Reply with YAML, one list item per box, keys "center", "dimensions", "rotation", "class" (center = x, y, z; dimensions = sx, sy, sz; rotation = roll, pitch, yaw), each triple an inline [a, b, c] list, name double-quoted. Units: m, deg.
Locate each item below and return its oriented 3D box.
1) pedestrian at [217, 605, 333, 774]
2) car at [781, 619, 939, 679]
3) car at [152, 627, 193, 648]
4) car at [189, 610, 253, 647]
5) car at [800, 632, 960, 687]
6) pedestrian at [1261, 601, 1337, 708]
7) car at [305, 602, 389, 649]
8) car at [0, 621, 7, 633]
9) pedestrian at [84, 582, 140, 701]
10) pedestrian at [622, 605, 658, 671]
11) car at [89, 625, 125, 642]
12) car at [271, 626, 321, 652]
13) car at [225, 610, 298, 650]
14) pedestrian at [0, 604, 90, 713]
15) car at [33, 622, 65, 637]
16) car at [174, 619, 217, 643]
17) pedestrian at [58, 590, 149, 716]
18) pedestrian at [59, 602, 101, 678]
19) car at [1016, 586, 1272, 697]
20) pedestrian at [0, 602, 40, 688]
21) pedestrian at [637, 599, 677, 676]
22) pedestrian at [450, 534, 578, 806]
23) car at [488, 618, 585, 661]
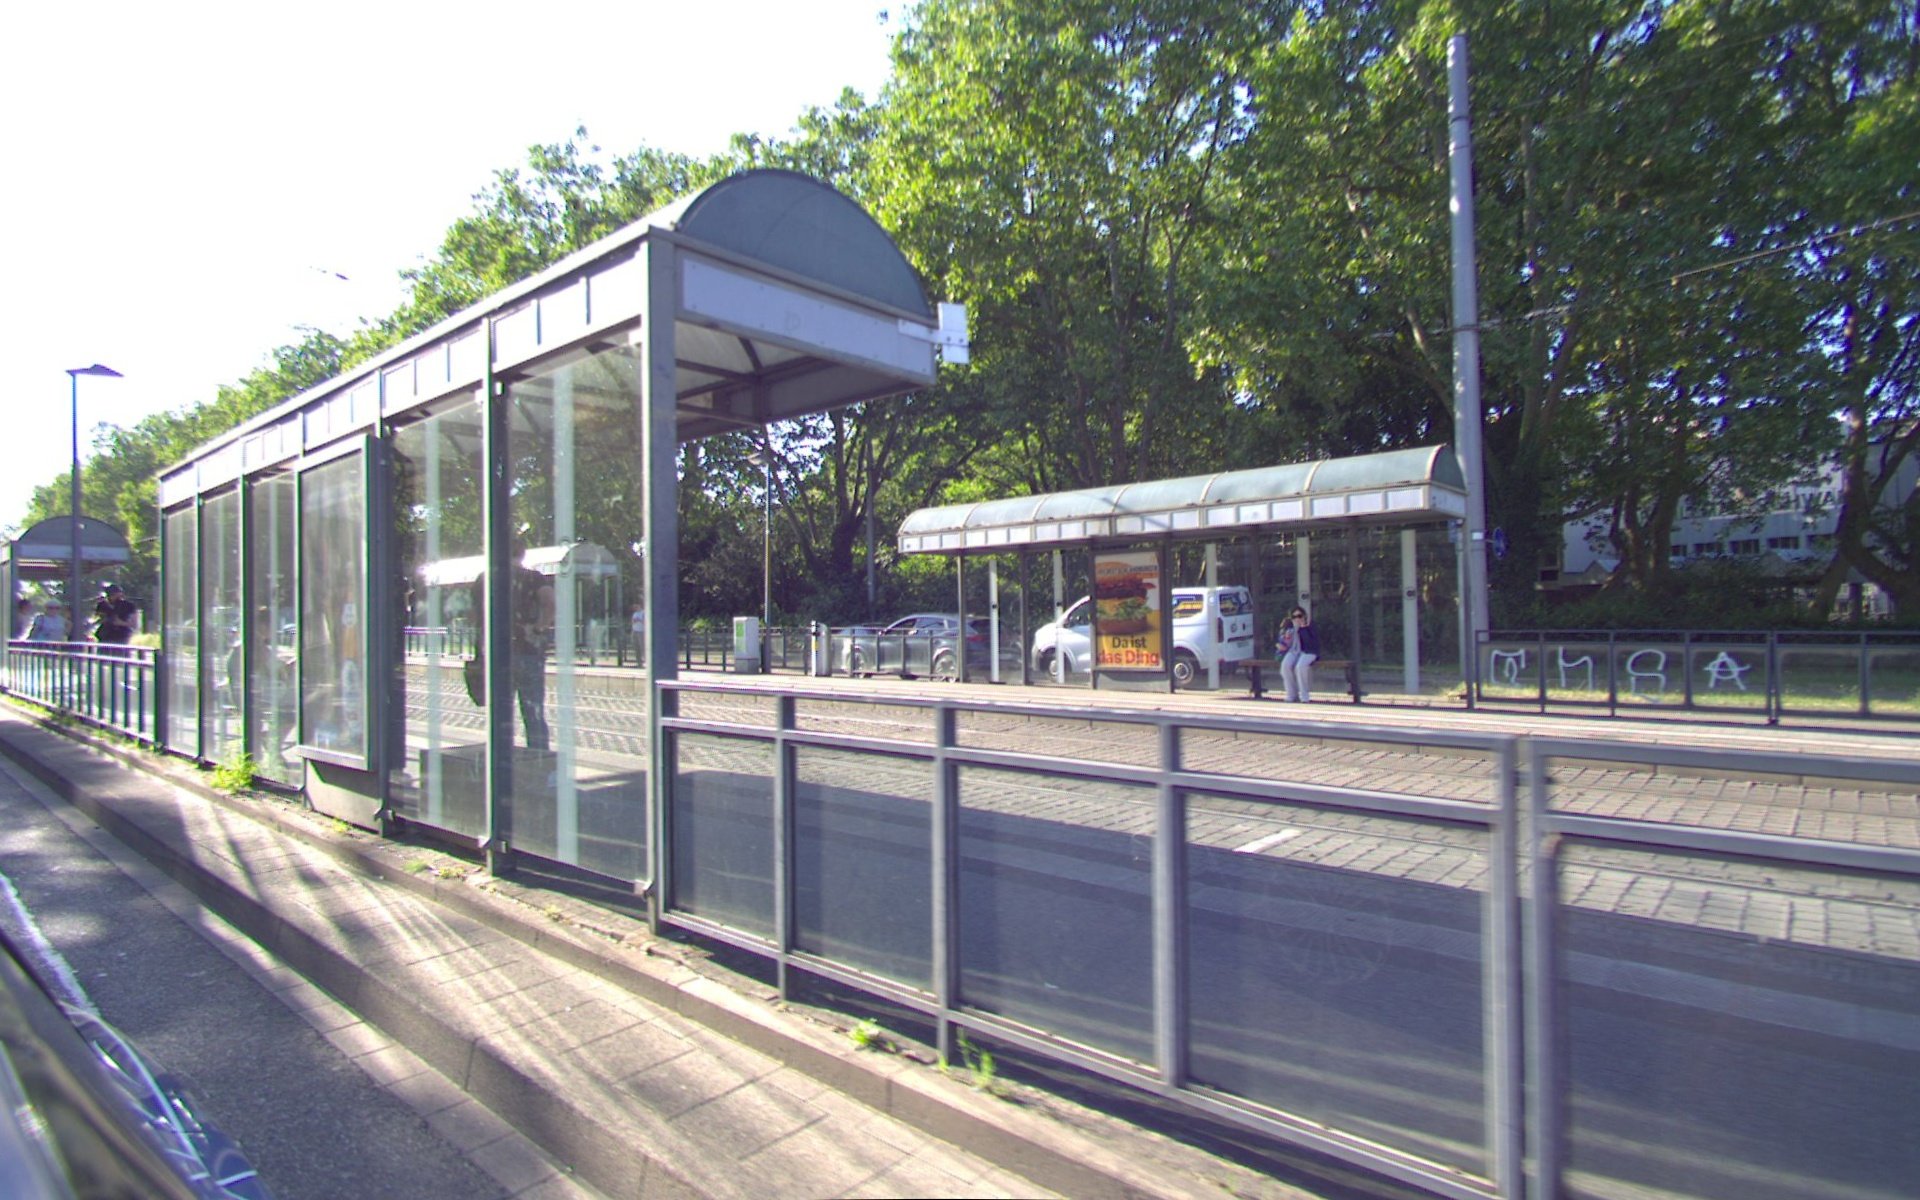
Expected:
- center: [-5.688, 0.710, 8.407]
  dimensions: [0.593, 1.318, 0.671]
  rotation: [-1, 0, 42]
  class: "pedestrian"
- center: [-2.790, 1.301, 27.790]
  dimensions: [4.338, 1.522, 1.776]
  rotation: [-1, -2, 40]
  class: "car"
- center: [-62.590, 2.982, 80.410]
  dimensions: [3.878, 1.567, 1.721]
  rotation: [-1, -2, 40]
  class: "car"
- center: [-52.593, 2.012, 71.987]
  dimensions: [6.044, 2.540, 2.161]
  rotation: [-1, -3, 40]
  class: "car"
- center: [-2.201, 1.548, 27.159]
  dimensions: [4.311, 1.302, 1.752]
  rotation: [-1, -2, 40]
  class: "car"
- center: [4.427, 0.704, 13.202]
  dimensions: [0.756, 1.335, 0.663]
  rotation: [-1, -4, 39]
  class: "pedestrian"
- center: [-34.806, 1.426, 57.361]
  dimensions: [6.027, 2.540, 2.161]
  rotation: [-1, -3, 40]
  class: "car"
- center: [-138.298, 3.852, 145.304]
  dimensions: [3.896, 1.753, 1.713]
  rotation: [-1, -2, 40]
  class: "car"
- center: [-13.687, 0.647, 16.346]
  dimensions: [0.643, 1.855, 0.712]
  rotation: [-2, 0, -39]
  class: "pedestrian"
- center: [-7.744, 0.899, 24.480]
  dimensions: [0.626, 1.555, 0.586]
  rotation: [-1, 0, 42]
  class: "pedestrian"
- center: [-80.194, 3.142, 95.167]
  dimensions: [4.320, 1.448, 1.809]
  rotation: [-1, -2, 40]
  class: "car"
- center: [-41.227, 2.396, 62.815]
  dimensions: [3.262, 1.524, 1.636]
  rotation: [-1, -2, 38]
  class: "car"
- center: [-46.289, 1.992, 66.995]
  dimensions: [6.263, 2.540, 2.162]
  rotation: [-1, -2, 38]
  class: "car"
- center: [-14.559, 0.898, 16.046]
  dimensions: [0.789, 1.646, 0.869]
  rotation: [-2, 0, -11]
  class: "pedestrian"
- center: [-104.880, 3.410, 116.519]
  dimensions: [4.385, 1.732, 1.811]
  rotation: [0, -2, 35]
  class: "car"
- center: [-58.008, 2.335, 76.772]
  dimensions: [3.878, 1.741, 1.721]
  rotation: [-1, -2, 40]
  class: "car"
- center: [-12.206, 0.738, 14.435]
  dimensions: [0.701, 1.735, 0.652]
  rotation: [-1, 0, 6]
  class: "pedestrian"
- center: [-18.726, 0.842, 21.535]
  dimensions: [0.650, 1.578, 0.582]
  rotation: [-1, 0, 42]
  class: "pedestrian"
- center: [3.865, 0.852, 21.824]
  dimensions: [5.086, 2.140, 2.046]
  rotation: [-1, -3, 40]
  class: "car"
- center: [-19.397, 0.916, 20.723]
  dimensions: [0.791, 1.707, 0.734]
  rotation: [-1, 0, 42]
  class: "pedestrian"
- center: [-7.175, 0.879, 23.946]
  dimensions: [0.650, 1.785, 0.641]
  rotation: [-1, 0, 44]
  class: "pedestrian"
- center: [-2.952, 0.435, 6.697]
  dimensions: [0.588, 1.690, 0.590]
  rotation: [-1, 0, -44]
  class: "pedestrian"
- center: [-17.025, 1.564, 40.623]
  dimensions: [3.968, 1.664, 1.884]
  rotation: [-1, -2, 38]
  class: "car"
